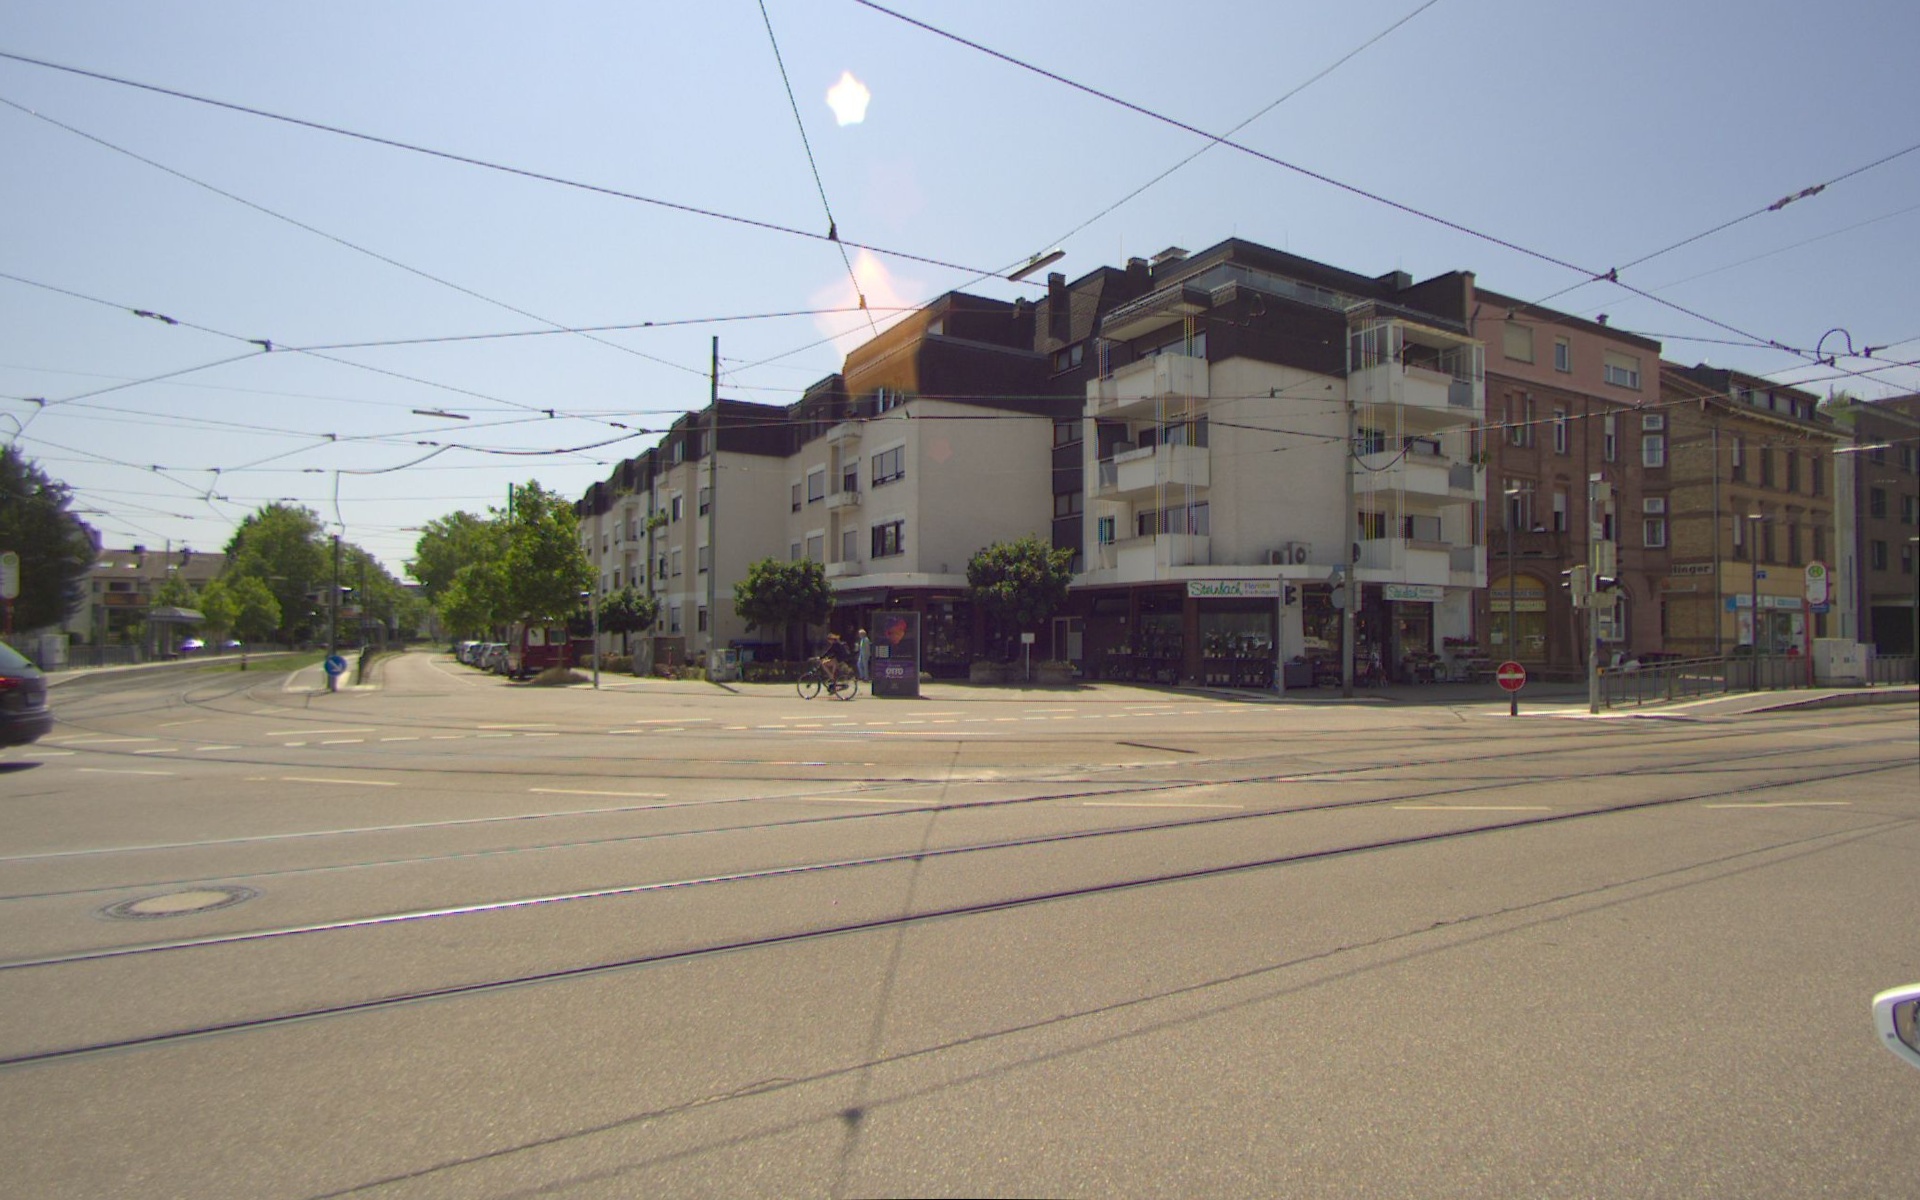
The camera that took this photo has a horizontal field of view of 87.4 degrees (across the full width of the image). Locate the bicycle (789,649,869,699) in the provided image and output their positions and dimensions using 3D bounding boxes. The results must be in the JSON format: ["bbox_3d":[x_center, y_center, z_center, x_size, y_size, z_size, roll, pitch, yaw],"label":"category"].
[{"bbox_3d":[-3.584,2.016,27.521,2.062,1.321,0.679,0,-3,8],"label":"bicycle"}]

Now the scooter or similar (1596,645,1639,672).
[{"bbox_3d":[26.731,2.362,40.836,1.550,1.096,0.488,0,-2,-14],"label":"scooter or similar"}]

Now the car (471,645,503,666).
[{"bbox_3d":[-29.027,3.380,61.601,1.571,1.256,3.554,1,-3,-29],"label":"car"}]

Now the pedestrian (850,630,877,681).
[{"bbox_3d":[-3.282,1.887,34.208,0.791,1.719,0.702,0,-2,7],"label":"pedestrian"}]

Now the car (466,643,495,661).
[{"bbox_3d":[-33.514,3.637,70.156,1.571,1.256,3.554,1,-3,-29],"label":"car"}]

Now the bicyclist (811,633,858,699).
[{"bbox_3d":[-3.426,1.793,27.465,1.112,1.785,0.735,0,-3,8],"label":"bicyclist"}]

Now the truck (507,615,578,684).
[{"bbox_3d":[-17.727,2.069,42.495,2.161,2.733,5.005,1,-3,-29],"label":"truck"}]

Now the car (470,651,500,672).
[{"bbox_3d":[-31.045,4.000,65.587,1.571,1.256,3.554,1,-3,-29],"label":"car"}]

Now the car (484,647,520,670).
[{"bbox_3d":[-25.646,3.241,56.218,1.571,1.256,3.554,1,-3,-29],"label":"car"}]

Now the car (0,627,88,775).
[{"bbox_3d":[-12.548,1.095,10.798,4.439,1.600,1.787,1,-3,-29],"label":"car"}]

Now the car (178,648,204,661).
[{"bbox_3d":[-75.432,5.372,98.606,1.580,1.243,3.273,1,-3,-30],"label":"car"}]

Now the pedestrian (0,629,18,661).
[{"bbox_3d":[-56.956,2.686,60.110,0.672,1.927,0.644,1,-3,-30],"label":"pedestrian"}]

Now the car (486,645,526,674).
[{"bbox_3d":[-23.695,3.099,52.366,1.571,1.451,3.554,1,-3,-29],"label":"car"}]

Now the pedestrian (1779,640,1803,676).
[{"bbox_3d":[37.151,2.596,44.911,0.633,1.581,0.611,1,-2,-31],"label":"pedestrian"}]
